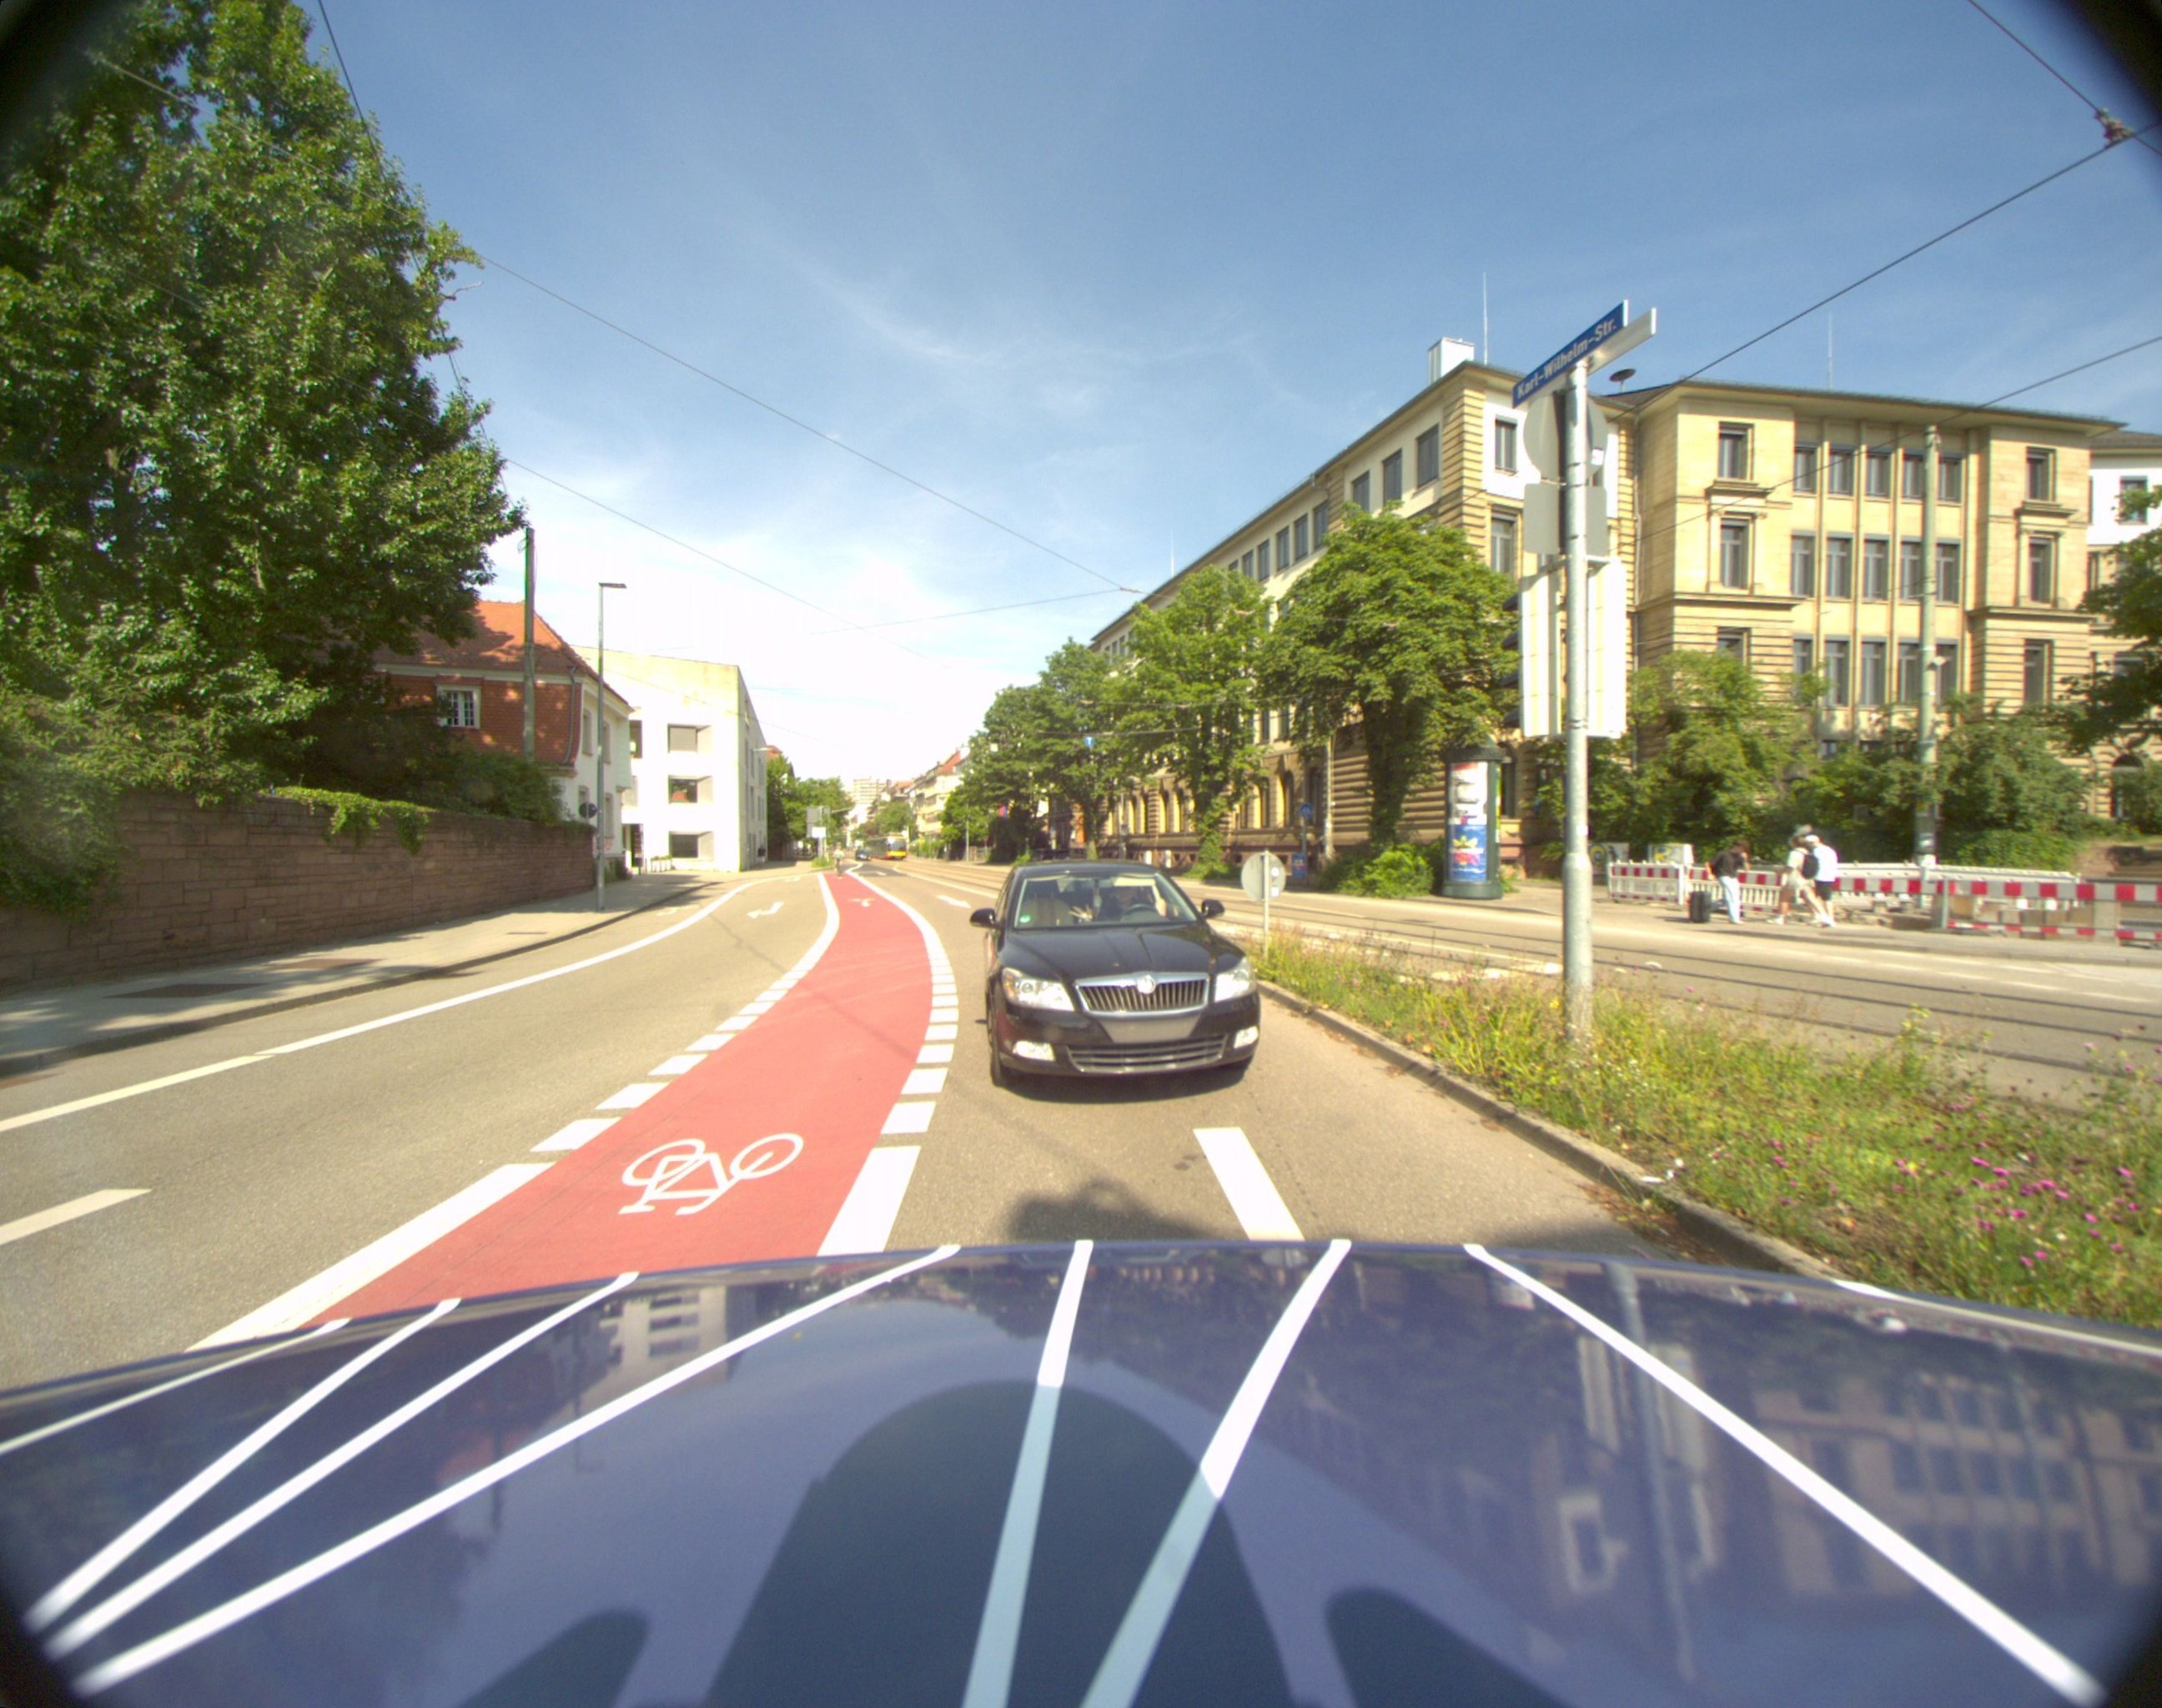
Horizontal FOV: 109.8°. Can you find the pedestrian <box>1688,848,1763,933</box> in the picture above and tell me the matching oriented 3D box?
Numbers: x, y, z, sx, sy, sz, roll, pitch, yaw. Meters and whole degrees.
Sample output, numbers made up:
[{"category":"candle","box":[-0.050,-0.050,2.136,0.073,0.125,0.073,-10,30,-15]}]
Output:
[{"category":"pedestrian","box":[13.013,0.705,15.371,0.938,1.646,0.845,0,1,24]}]

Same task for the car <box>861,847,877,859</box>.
[{"category":"car","box":[-26.337,-0.143,94.423,1.804,1.368,4.270,0,1,-15]}]

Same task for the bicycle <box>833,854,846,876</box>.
[{"category":"bicycle","box":[-13.442,0.593,42.369,0.687,1.215,2.183,0,1,-17]}]

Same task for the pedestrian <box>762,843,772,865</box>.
[{"category":"pedestrian","box":[-24.102,-0.010,58.265,0.651,1.697,0.710,0,1,-20]}]

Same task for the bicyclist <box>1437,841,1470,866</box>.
[{"category":"bicyclist","box":[13.672,-0.023,27.904,0.684,0.922,0.867,-1,1,-23]}]

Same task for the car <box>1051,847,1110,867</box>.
[{"category":"car","box":[-0.058,0.222,57.855,4.004,1.455,1.996,0,1,-20]}]

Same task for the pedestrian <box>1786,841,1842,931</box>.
[{"category":"pedestrian","box":[14.722,0.620,15.259,0.586,1.740,0.743,-1,2,-42]}]

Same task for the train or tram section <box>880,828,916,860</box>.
[{"category":"train or tram section","box":[-24.269,-1.290,100.254,3.219,3.838,14.561,0,1,-19]}]

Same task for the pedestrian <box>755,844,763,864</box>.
[{"category":"pedestrian","box":[-24.603,-0.014,58.047,0.550,1.559,0.929,0,1,-20]}]

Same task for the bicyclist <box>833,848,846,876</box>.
[{"category":"bicyclist","box":[-13.476,0.438,42.457,0.589,1.539,0.930,-3,1,-16]}]

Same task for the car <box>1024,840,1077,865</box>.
[{"category":"car","box":[-2.552,-0.147,62.935,4.004,2.002,1.996,0,1,-20]}]

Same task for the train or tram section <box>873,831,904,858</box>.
[{"category":"train or tram section","box":[-29.025,-1.407,113.945,3.219,3.838,14.561,0,1,-19]}]

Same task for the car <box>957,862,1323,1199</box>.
[{"category":"car","box":[0.046,0.895,6.217,1.865,1.510,4.823,0,1,-7]}]

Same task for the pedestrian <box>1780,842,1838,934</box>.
[{"category":"pedestrian","box":[14.189,0.631,14.818,0.586,1.740,0.743,-1,2,-41]}]
